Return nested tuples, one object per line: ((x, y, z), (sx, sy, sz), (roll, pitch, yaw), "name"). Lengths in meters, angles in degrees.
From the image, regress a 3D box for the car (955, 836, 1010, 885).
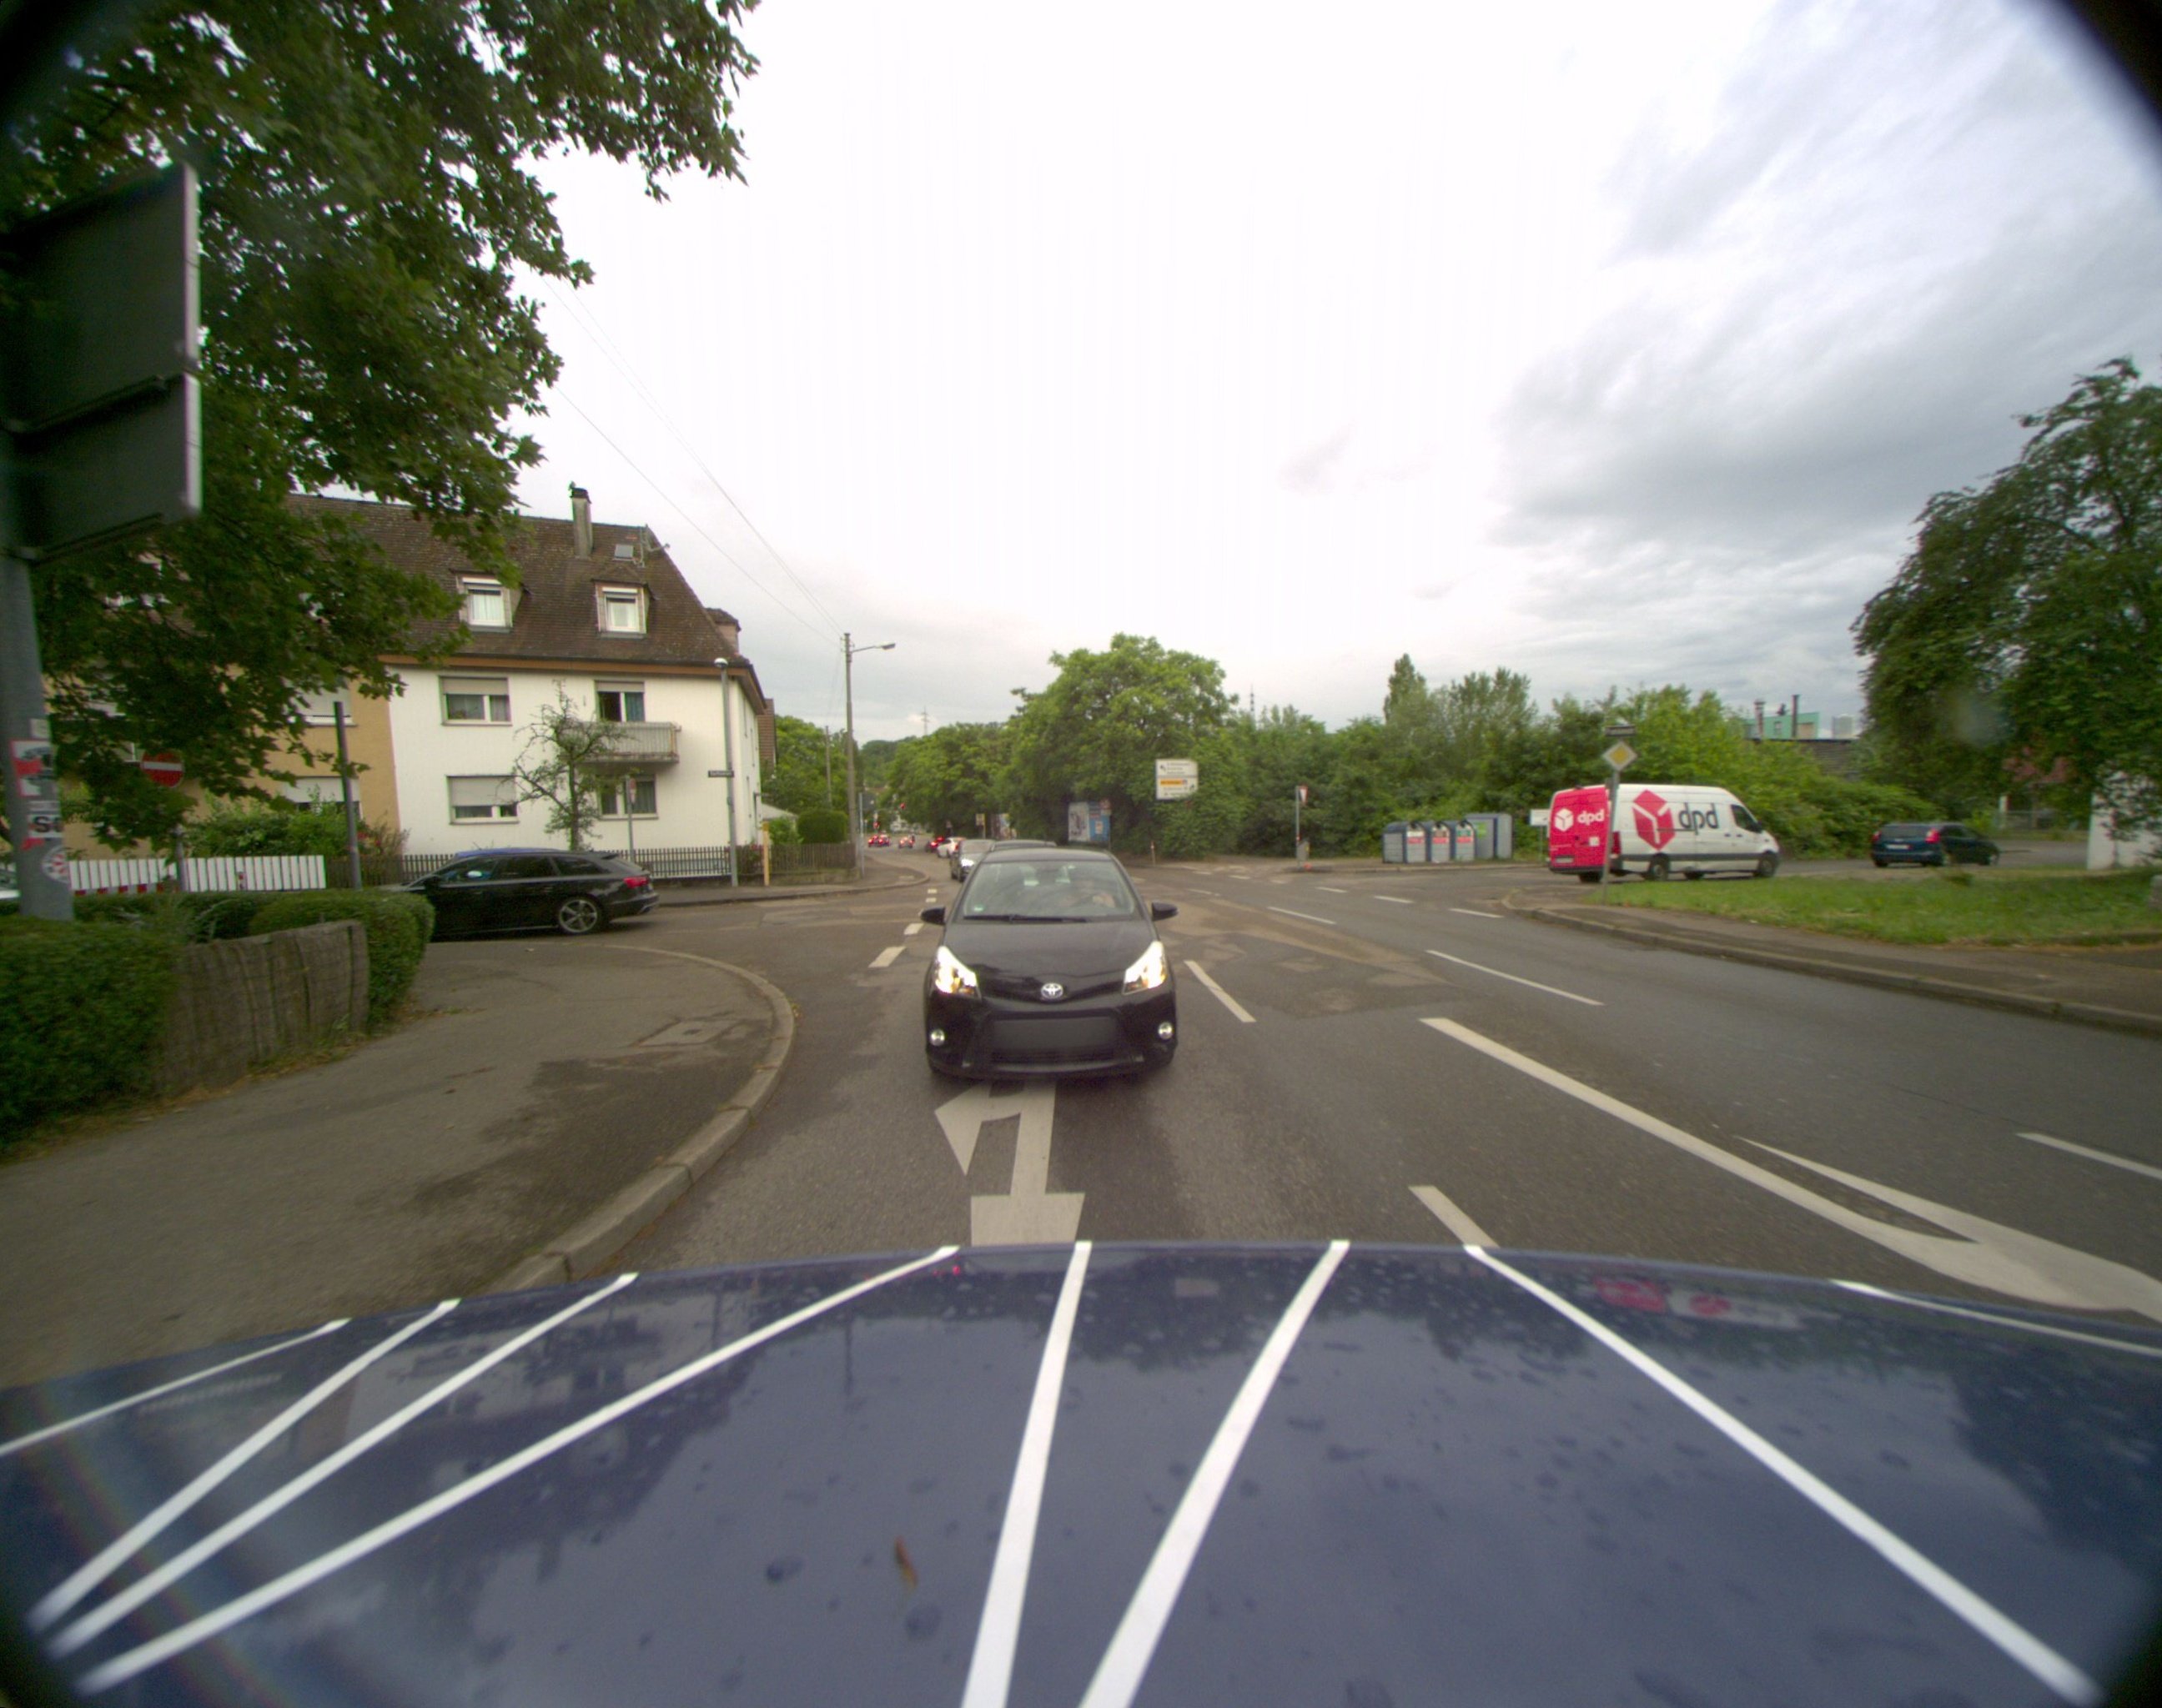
((-3.544, 0.170, 26.879), (1.709, 1.549, 3.995), (-2, 1, -10), "car")

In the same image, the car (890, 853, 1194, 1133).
((-0.336, 0.766, 6.236), (1.645, 1.450, 3.998), (-2, 1, -4), "car")

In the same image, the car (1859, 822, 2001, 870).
((29.962, -0.298, 26.838), (4.072, 1.521, 1.996), (-2, 2, -20), "car")

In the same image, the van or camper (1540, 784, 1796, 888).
((15.915, -0.553, 20.581), (6.703, 2.508, 2.219), (-2, 2, -20), "van or camper")

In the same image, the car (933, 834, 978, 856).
((-9.384, -0.660, 56.420), (1.844, 1.549, 5.561), (-2, 2, -24), "car")

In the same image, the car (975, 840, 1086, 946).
((-1.003, 0.556, 13.345), (1.645, 1.549, 3.625), (-2, 1, -8), "car")

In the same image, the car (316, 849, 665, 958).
((-9.931, 0.741, 13.307), (4.397, 1.505, 1.996), (-2, 2, -22), "car")

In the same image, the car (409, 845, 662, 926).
((-11.294, 0.585, 16.125), (4.004, 1.456, 1.857), (-1, 2, -23), "car")

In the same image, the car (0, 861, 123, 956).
((-19.835, 0.960, 12.637), (4.396, 1.505, 1.996), (-2, 2, -19), "car")
